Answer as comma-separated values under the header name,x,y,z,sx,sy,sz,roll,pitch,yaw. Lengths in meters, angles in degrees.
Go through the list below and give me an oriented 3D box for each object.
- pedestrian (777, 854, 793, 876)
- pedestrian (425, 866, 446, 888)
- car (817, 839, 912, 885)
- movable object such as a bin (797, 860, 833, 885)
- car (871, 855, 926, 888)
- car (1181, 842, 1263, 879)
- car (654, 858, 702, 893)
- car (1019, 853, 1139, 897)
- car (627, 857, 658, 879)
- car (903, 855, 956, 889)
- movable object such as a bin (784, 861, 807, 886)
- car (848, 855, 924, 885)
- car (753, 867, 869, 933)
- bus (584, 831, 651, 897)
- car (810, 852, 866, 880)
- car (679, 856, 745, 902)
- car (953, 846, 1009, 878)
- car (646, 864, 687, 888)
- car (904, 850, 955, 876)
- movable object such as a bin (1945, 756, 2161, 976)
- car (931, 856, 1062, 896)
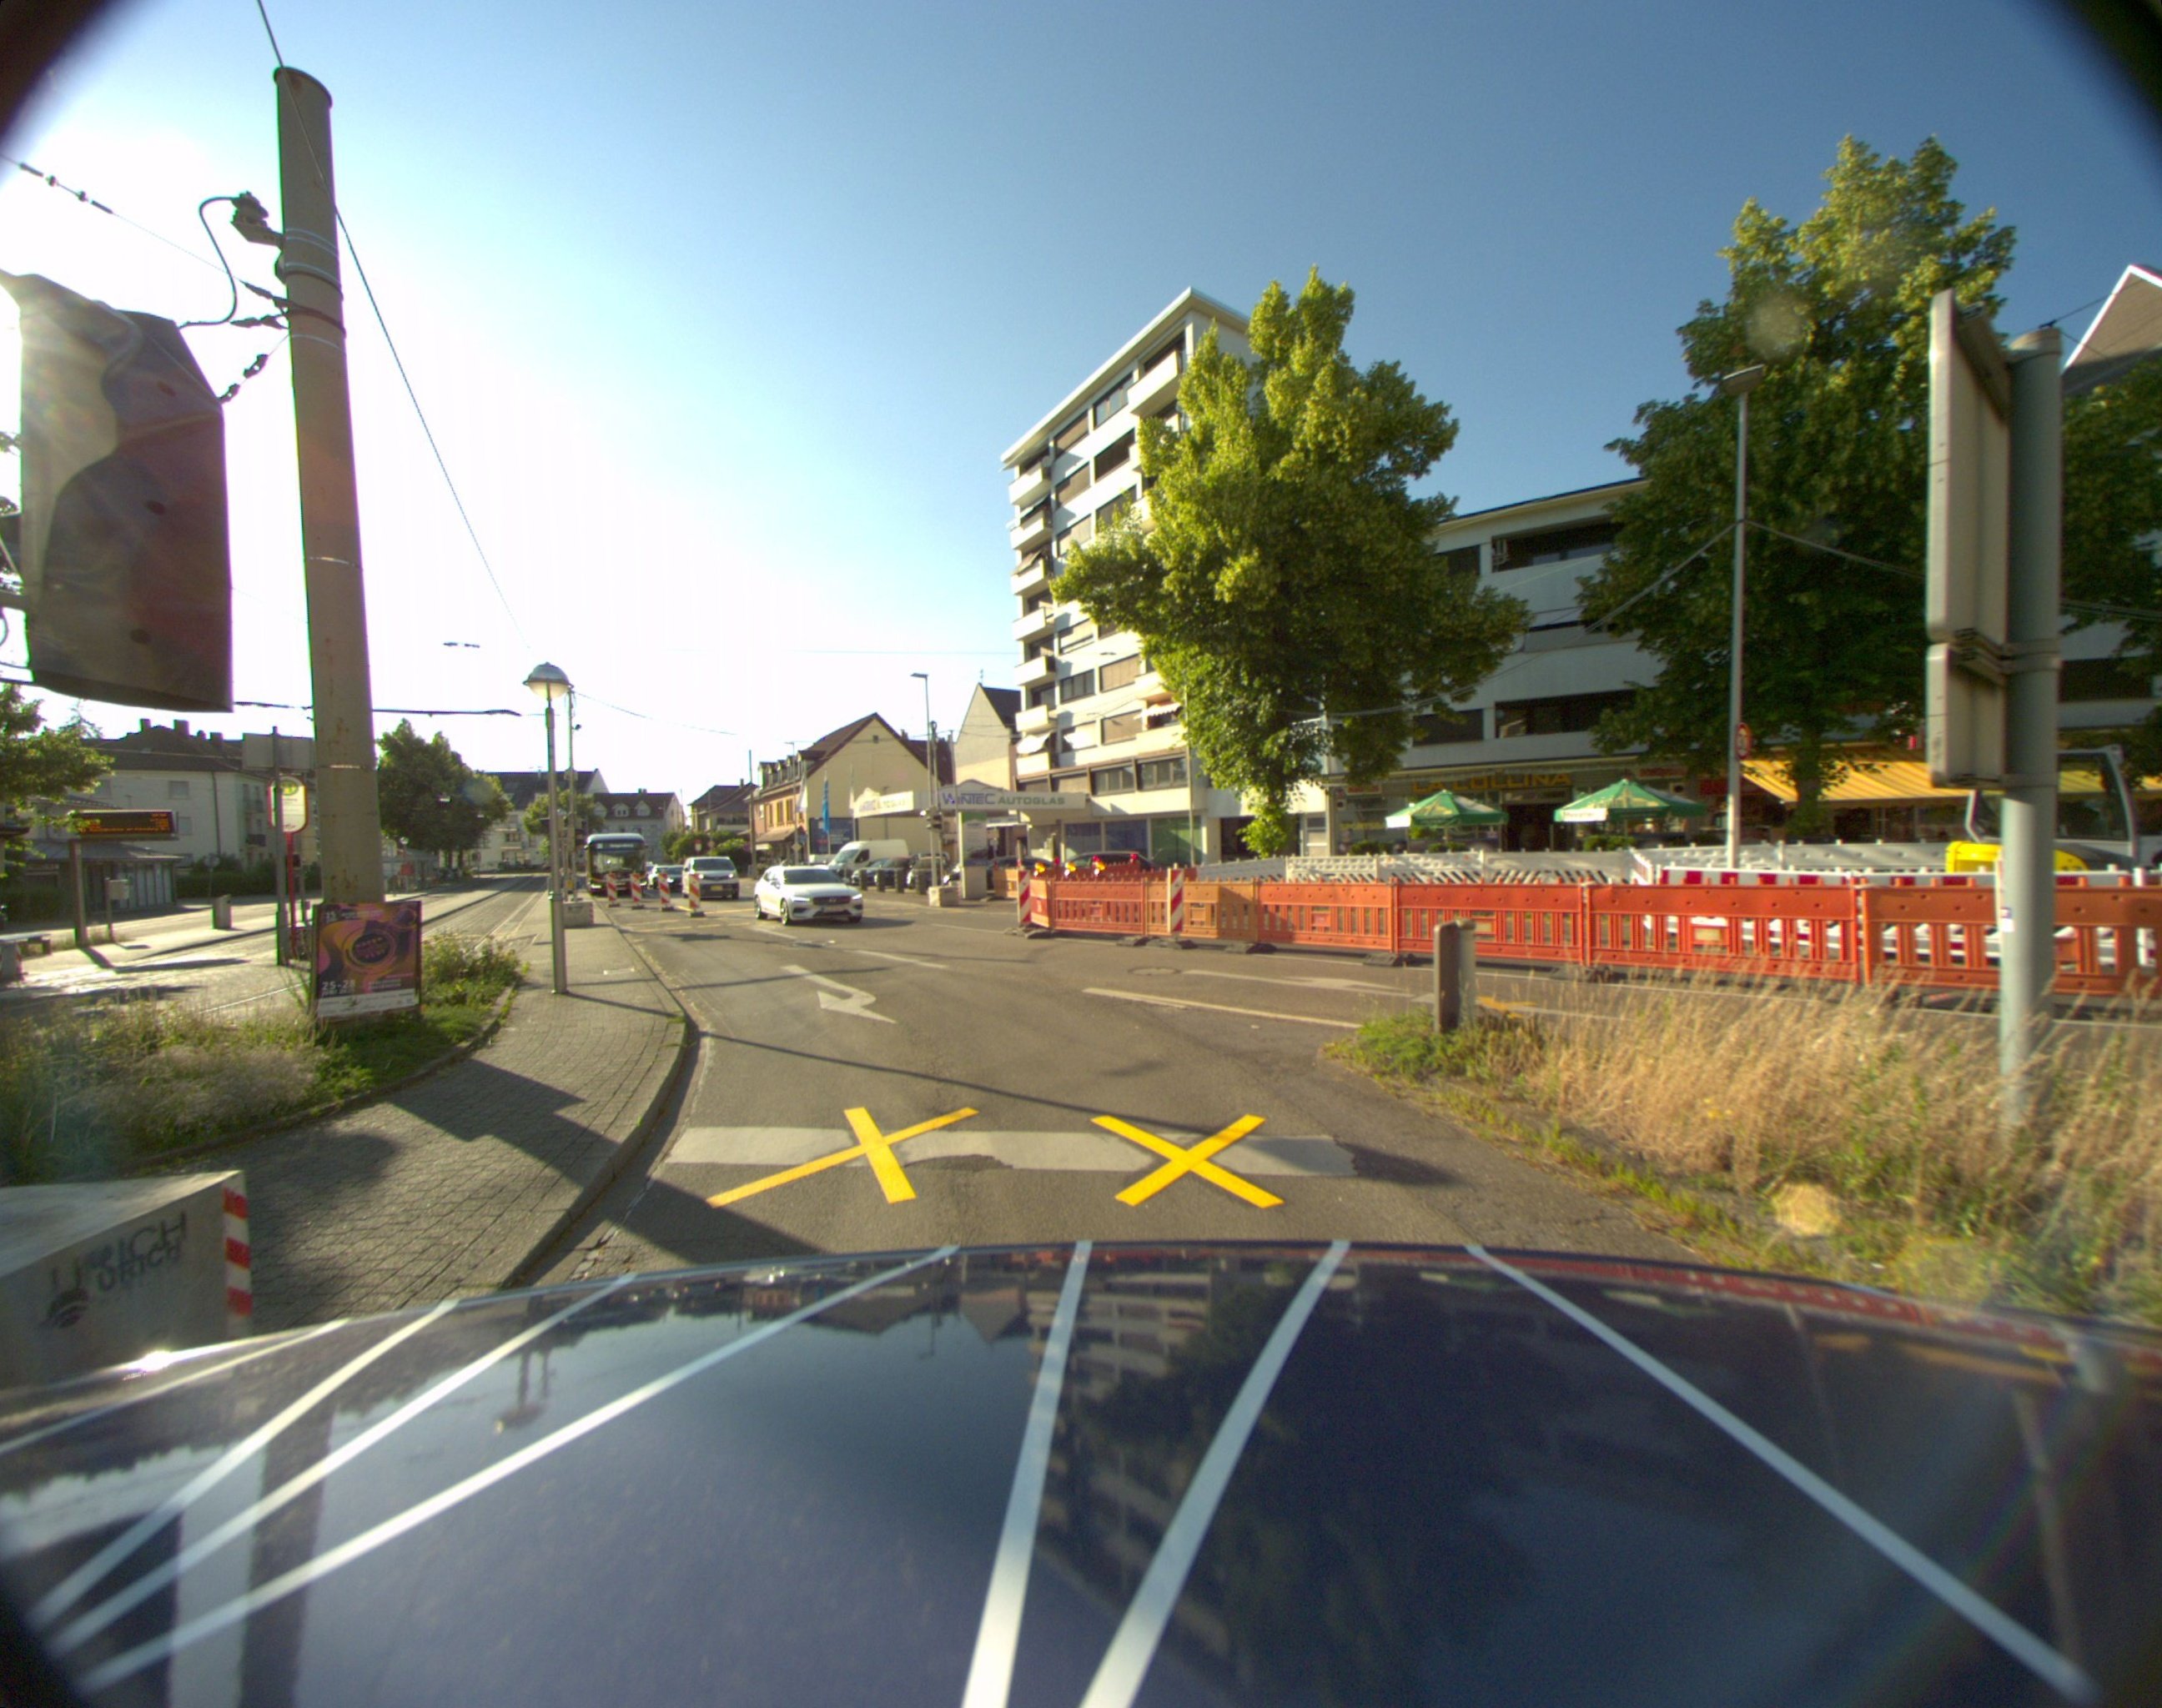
name,x,y,z,sx,sy,sz,roll,pitch,yaw
pedestrian,-23.716,0.901,60.947,0.857,1.703,0.811,0,1,31
pedestrian,-46.958,1.668,55.298,0.840,1.601,0.826,-1,1,22
car,-12.358,0.392,43.742,2.109,2.440,5.001,-1,1,35
movable object such as a bin,-16.499,1.148,47.154,1.045,1.456,1.799,-1,1,31
car,-9.326,0.862,39.046,1.593,1.488,3.437,-1,1,6
car,6.627,0.297,36.062,1.726,1.664,3.621,-2,1,-36
car,-23.219,1.180,43.670,1.974,1.816,5.020,-2,0,-33
car,-0.097,0.696,26.527,3.886,1.430,1.594,-1,0,-14
car,-36.695,1.160,63.543,1.974,1.694,4.812,-2,0,-33
car,-7.251,0.851,36.682,1.540,1.478,3.374,-2,1,5
movable object such as a bin,-17.103,1.175,45.602,1.048,1.456,0.796,-1,1,-2
car,-10.661,0.857,41.807,1.738,1.488,4.037,-1,1,28
car,-7.095,1.091,19.697,1.825,1.446,4.207,-2,0,-34
bus,-26.903,0.526,43.779,2.755,3.284,12.001,-2,0,-34
car,-18.149,0.854,56.843,3.680,2.002,1.448,-2,1,-36
car,-16.448,1.056,33.727,1.974,1.816,5.020,-2,0,-33
car,-6.346,0.480,47.987,1.746,1.933,4.247,-2,1,-34
car,-27.086,1.380,49.607,1.974,1.450,4.812,-2,0,-33
car,-12.165,0.698,61.013,3.680,2.002,1.448,-2,1,-36
movable object such as a bin,12.253,0.103,8.100,1.655,2.311,3.910,-2,0,-38
car,-3.205,0.845,29.293,4.682,1.430,1.934,-1,0,8
